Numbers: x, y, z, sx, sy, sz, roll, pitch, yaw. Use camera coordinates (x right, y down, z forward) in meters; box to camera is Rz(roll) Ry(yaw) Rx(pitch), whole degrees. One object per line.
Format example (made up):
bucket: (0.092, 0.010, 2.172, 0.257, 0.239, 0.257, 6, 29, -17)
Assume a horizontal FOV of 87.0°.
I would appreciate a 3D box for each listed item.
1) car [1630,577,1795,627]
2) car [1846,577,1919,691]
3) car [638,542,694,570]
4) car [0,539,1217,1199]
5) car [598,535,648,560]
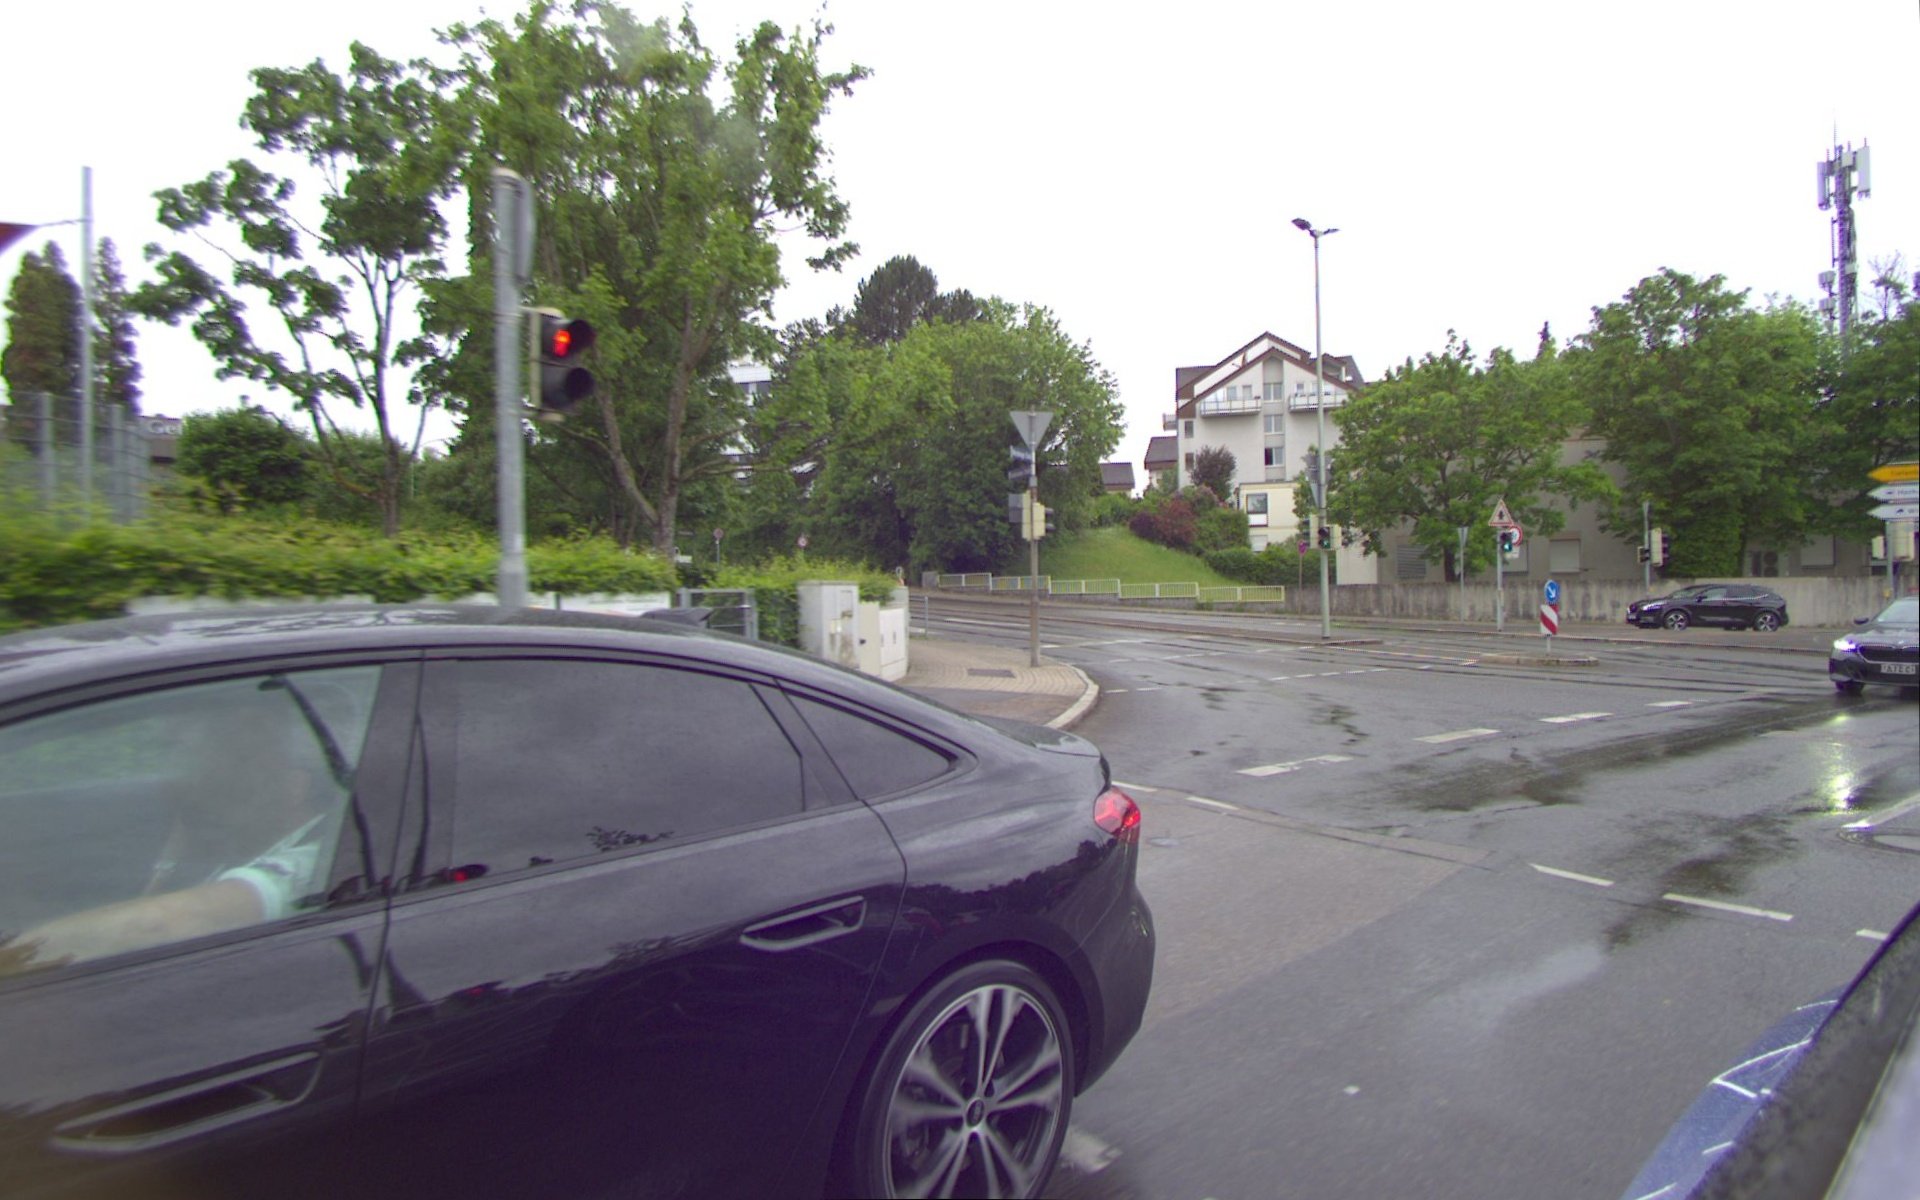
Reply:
car: (24.417, 0.053, 32.990, 3.939, 1.571, 1.688, 0, 1, 13)
car: (14.950, 0.445, 15.112, 3.927, 1.538, 1.873, -2, 2, -37)
car: (-20.521, -3.088, 70.595, 4.199, 1.900, 1.968, 3, 4, 45)
car: (-1.685, 0.644, 1.836, 4.657, 1.442, 1.869, -2, 2, -41)
car: (-25.147, -3.917, 75.500, 3.989, 1.828, 1.968, 3, 4, 45)
